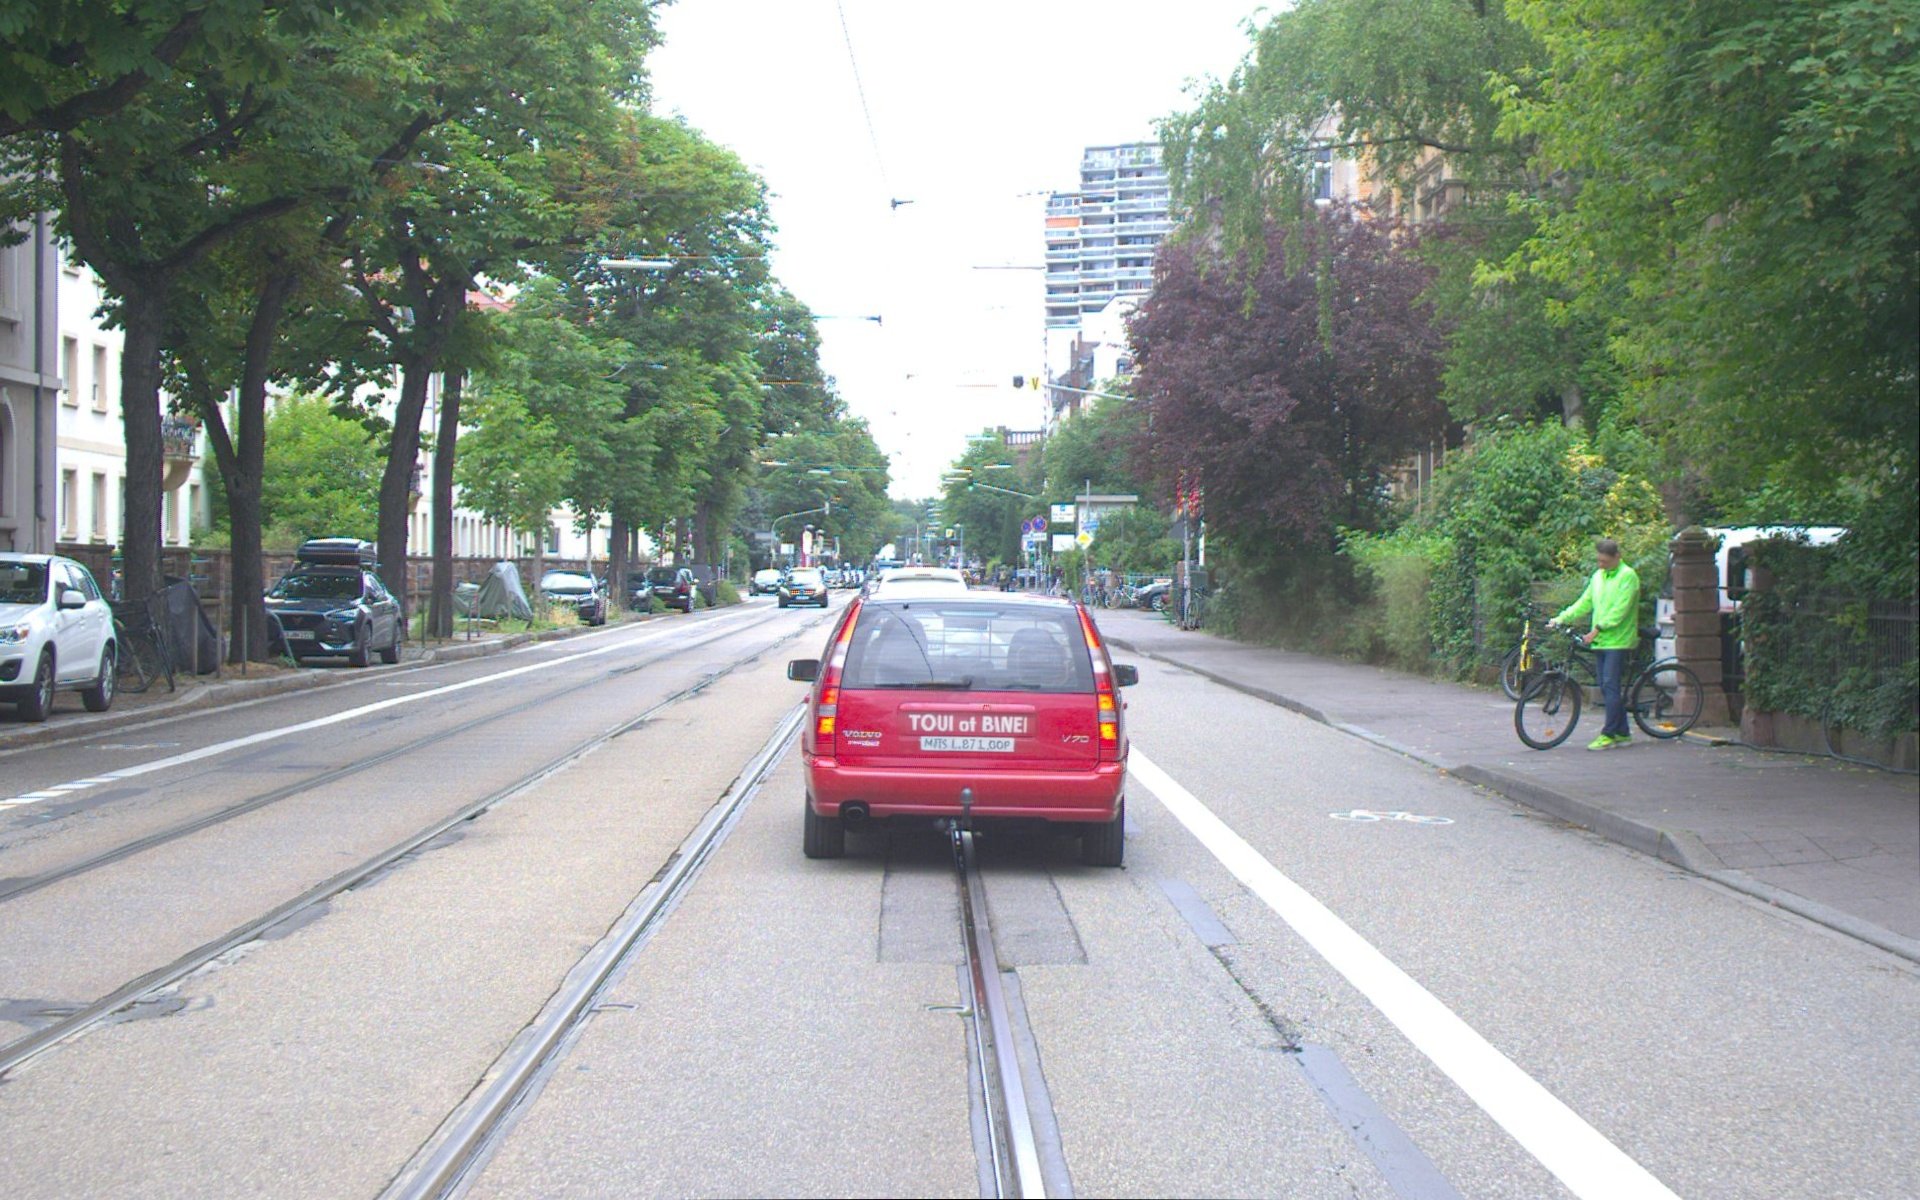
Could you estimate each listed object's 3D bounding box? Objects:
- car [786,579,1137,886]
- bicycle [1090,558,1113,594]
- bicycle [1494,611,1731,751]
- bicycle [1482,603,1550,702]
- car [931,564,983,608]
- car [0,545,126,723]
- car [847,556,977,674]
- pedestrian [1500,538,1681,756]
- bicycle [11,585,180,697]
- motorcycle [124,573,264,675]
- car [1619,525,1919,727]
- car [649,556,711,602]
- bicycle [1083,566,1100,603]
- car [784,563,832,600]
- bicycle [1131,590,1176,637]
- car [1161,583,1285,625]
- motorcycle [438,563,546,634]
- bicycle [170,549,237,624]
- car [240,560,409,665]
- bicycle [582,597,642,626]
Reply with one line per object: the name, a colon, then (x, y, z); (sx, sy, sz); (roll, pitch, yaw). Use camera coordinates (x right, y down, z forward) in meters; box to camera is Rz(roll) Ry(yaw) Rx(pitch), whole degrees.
car: (-0.016, 0.639, 18.776); (1.689, 1.436, 3.743); (2, 1, -1)
bicycle: (5.062, -0.864, 122.835); (0.708, 1.296, 1.904); (0, 1, 0)
bicycle: (5.530, 0.680, 29.177); (1.841, 1.072, 0.606); (-3, 1, -2)
bicycle: (6.054, 0.565, 37.498); (0.479, 1.041, 1.531); (0, 0, 0)
car: (-0.119, -0.548, 129.856); (1.741, 1.600, 4.000); (1, 0, -3)
car: (-9.670, 0.278, 34.033); (1.897, 1.650, 4.226); (1, 1, -2)
car: (-0.664, 0.188, 49.934); (1.719, 1.619, 3.941); (1, 0, 1)
pedestrian: (5.259, 0.380, 28.750); (1.228, 1.727, 1.018); (-3, 1, -1)
bicycle: (-9.894, 0.463, 39.358); (1.744, 1.188, 0.652); (2, 1, 14)
motorcycle: (-9.982, 0.298, 44.890); (0.864, 1.284, 2.320); (1, 0, 13)
car: (8.442, 0.228, 32.689); (3.987, 1.852, 1.809); (0, 0, 0)
car: (-9.754, -0.734, 119.907); (1.851, 1.558, 3.943); (1, 0, -1)
bicycle: (4.990, -0.583, 130.890); (0.551, 1.395, 1.734); (0, 1, 0)
car: (-5.756, -0.710, 130.426); (1.755, 1.375, 4.027); (0, 1, -1)
bicycle: (6.264, 0.425, 111.206); (0.918, 1.502, 2.379); (1, 0, 16)
car: (8.850, 0.136, 115.628); (3.988, 1.357, 1.891); (0, 1, 10)
motorcycle: (-10.199, -0.041, 74.839); (2.269, 1.506, 0.925); (1, -1, 35)
bicycle: (-14.135, -0.253, 64.246); (0.792, 1.377, 2.141); (0, 0, 0)
car: (-9.739, 0.165, 52.946); (1.777, 1.505, 4.237); (1, 1, 0)
bicycle: (-10.655, 0.350, 105.218); (1.748, 0.841, 0.684); (1, 0, 1)
